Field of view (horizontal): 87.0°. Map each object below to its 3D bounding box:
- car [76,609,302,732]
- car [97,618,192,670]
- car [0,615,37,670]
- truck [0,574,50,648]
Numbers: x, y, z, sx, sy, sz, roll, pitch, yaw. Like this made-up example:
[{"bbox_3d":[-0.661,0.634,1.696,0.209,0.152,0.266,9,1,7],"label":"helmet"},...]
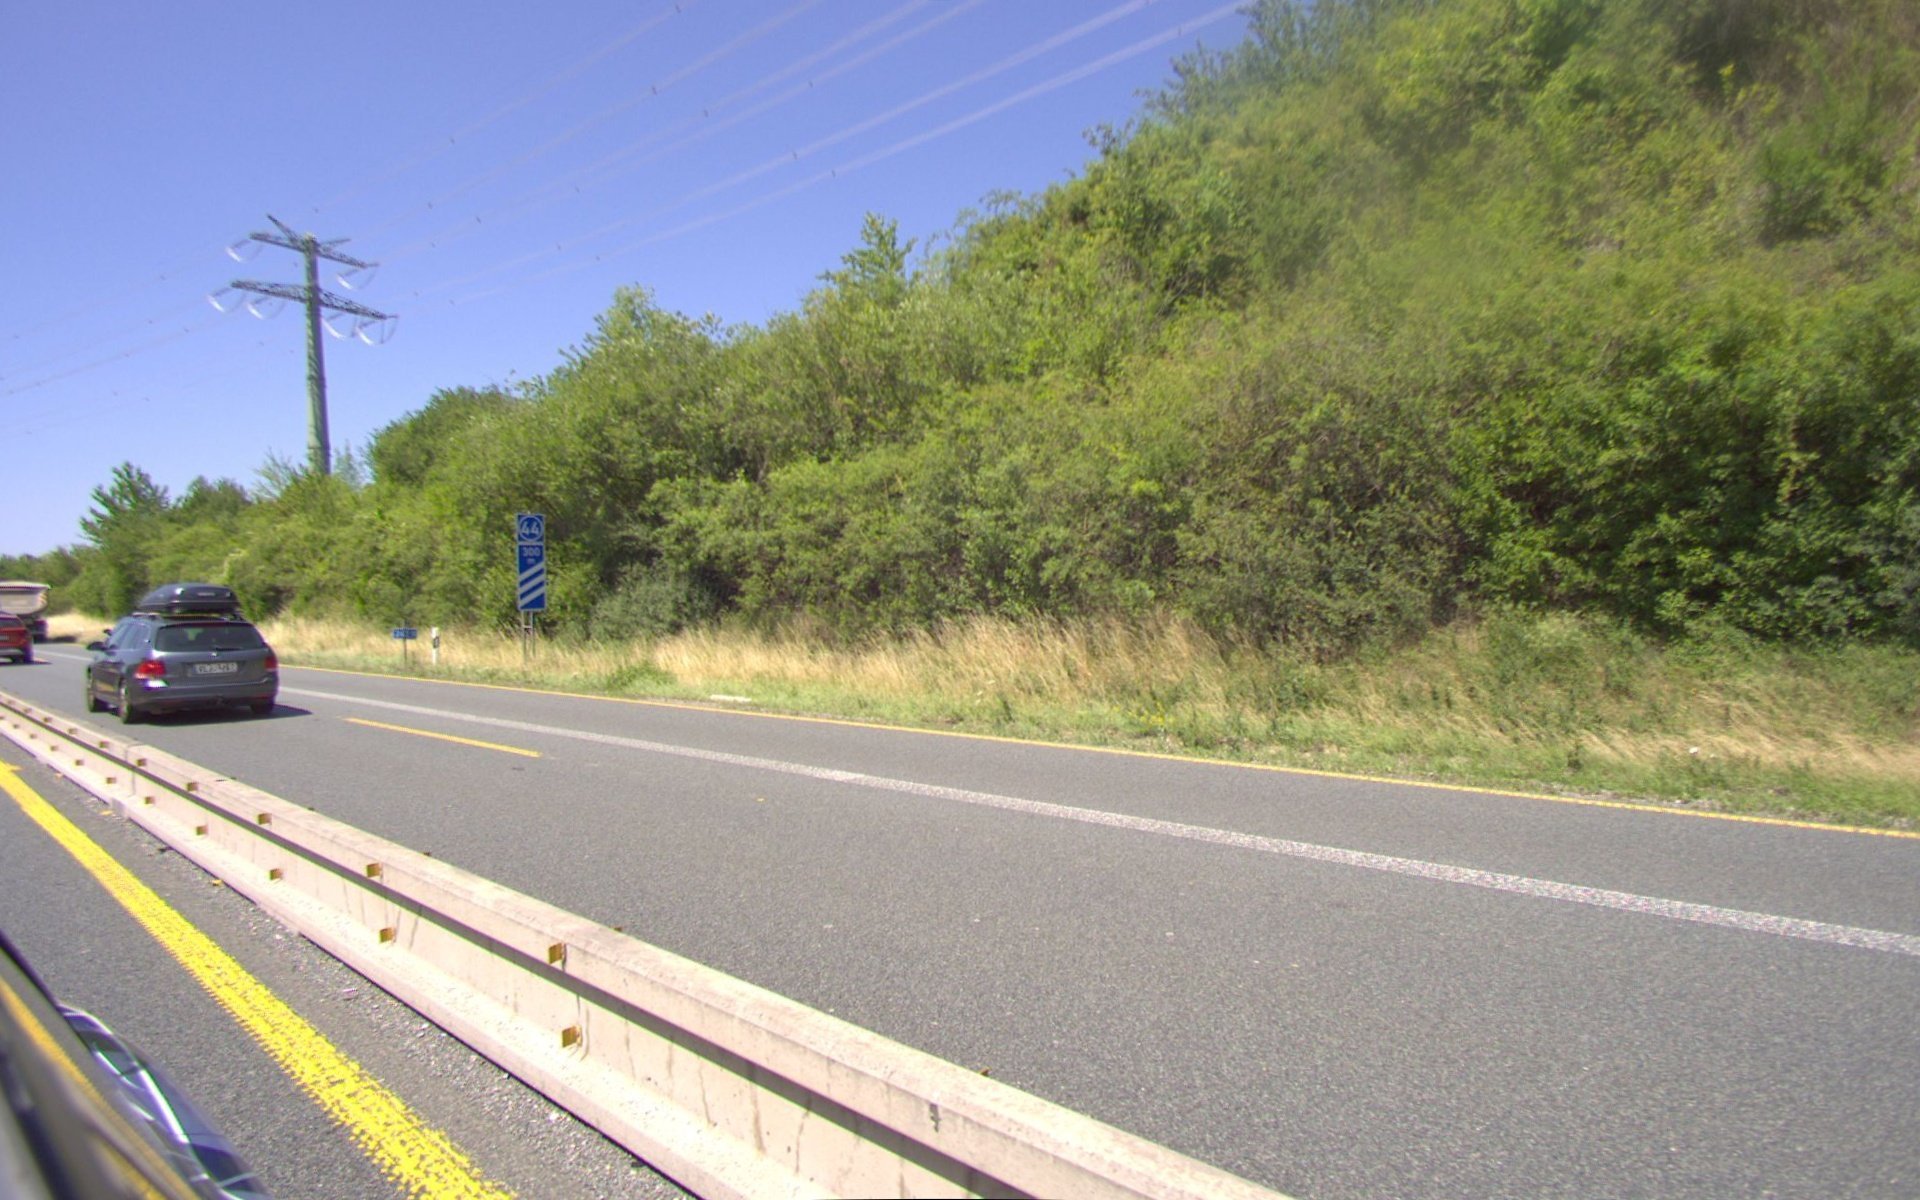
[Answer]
[{"bbox_3d":[-11.420,0.912,14.881,4.275,1.527,1.879,-1,0,42],"label":"car"},{"bbox_3d":[-24.865,1.295,30.818,3.641,1.432,1.663,-1,0,41],"label":"car"},{"bbox_3d":[-29.987,1.275,31.172,4.275,1.601,1.879,-1,0,42],"label":"car"},{"bbox_3d":[-53.172,0.645,56.087,11.377,3.804,2.904,-1,1,42],"label":"truck"}]
